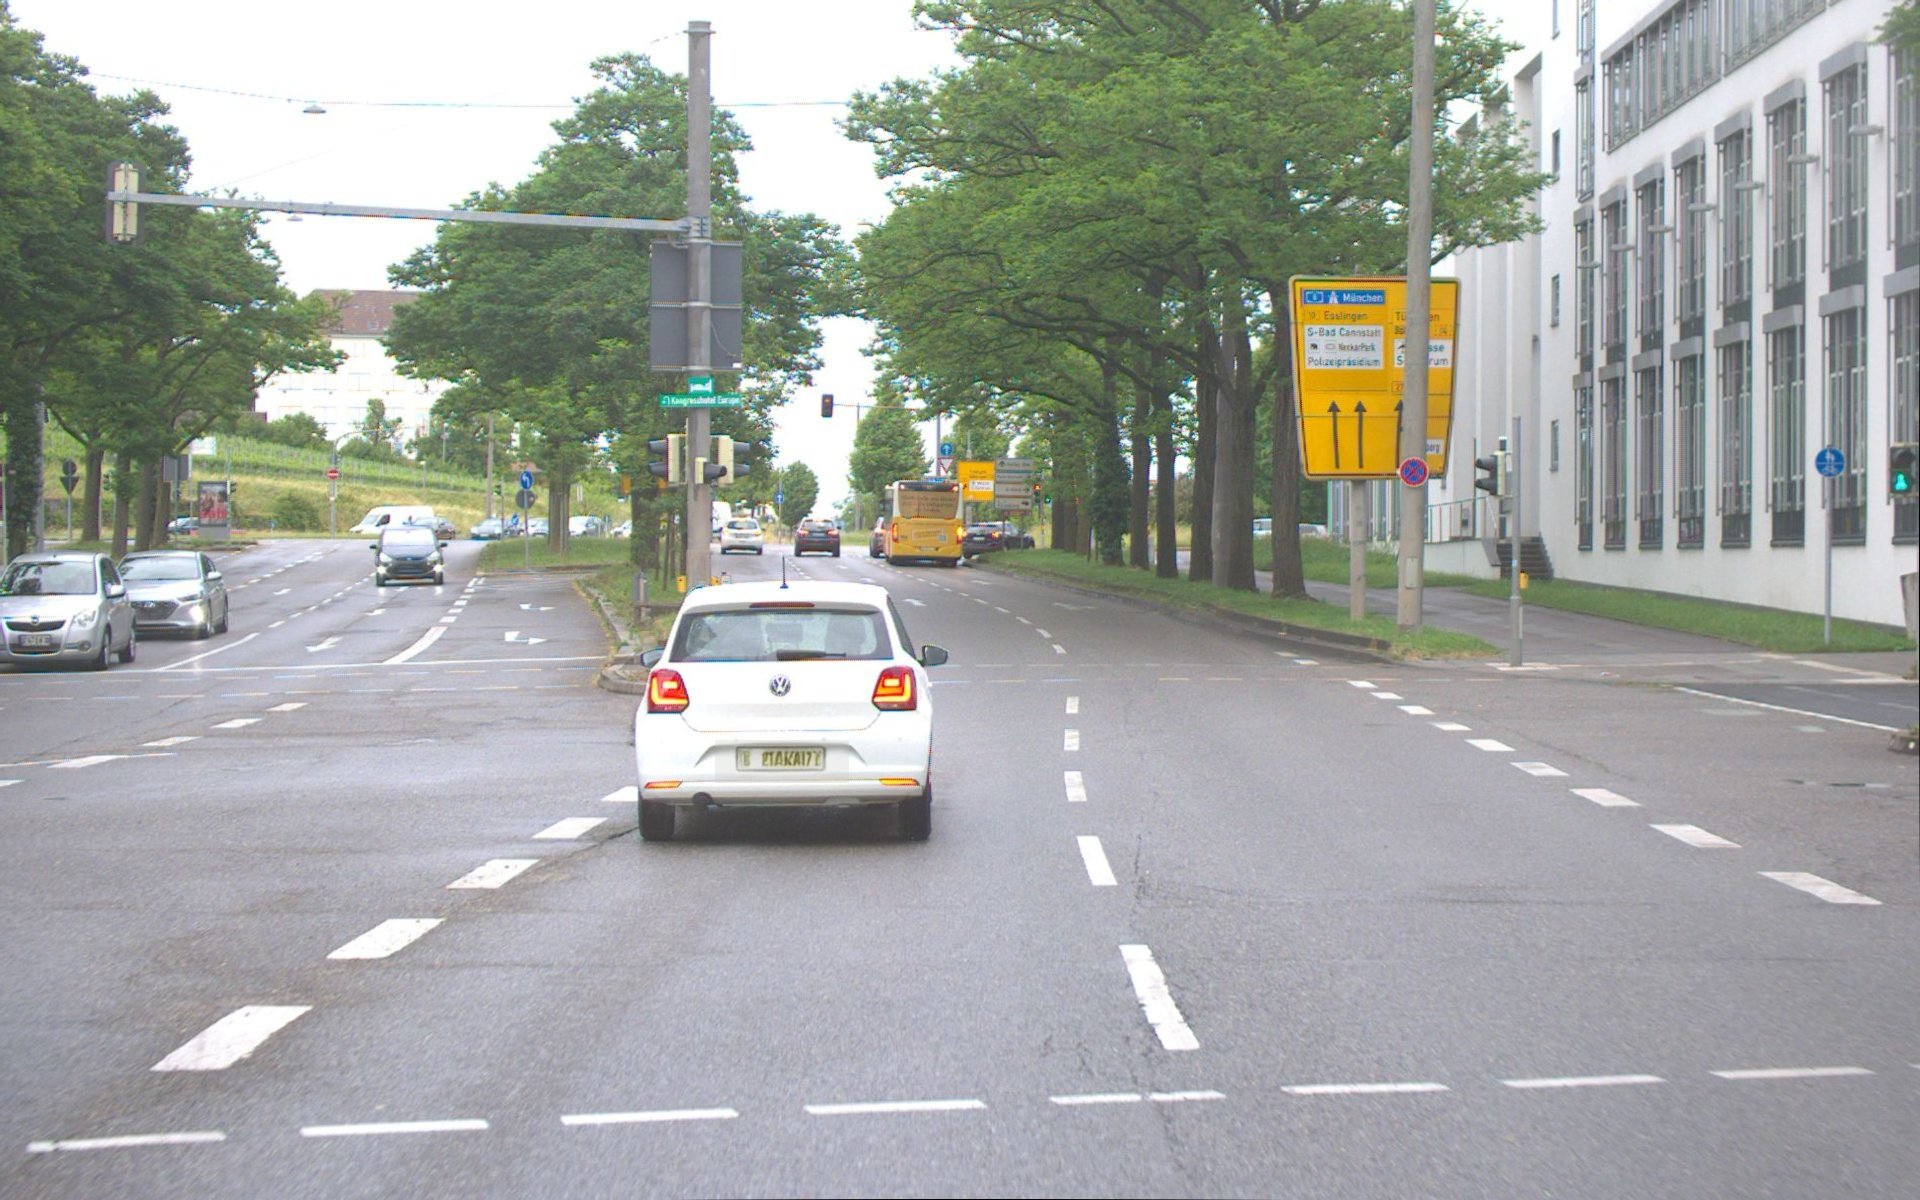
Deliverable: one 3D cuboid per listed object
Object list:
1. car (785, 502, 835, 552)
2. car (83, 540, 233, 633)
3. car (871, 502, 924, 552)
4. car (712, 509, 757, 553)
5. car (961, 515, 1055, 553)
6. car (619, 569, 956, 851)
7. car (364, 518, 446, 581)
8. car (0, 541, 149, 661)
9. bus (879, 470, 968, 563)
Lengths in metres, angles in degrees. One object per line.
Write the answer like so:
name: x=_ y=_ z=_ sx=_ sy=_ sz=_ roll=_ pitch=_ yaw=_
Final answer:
car: x=-6.079 y=-2.944 z=139.220 sx=1.993 sy=2.007 sz=4.000 roll=0 pitch=1 yaw=-3
car: x=-13.341 y=-0.259 z=57.435 sx=1.814 sy=1.406 sz=4.657 roll=-1 pitch=2 yaw=-6
car: x=-2.566 y=-2.952 z=140.204 sx=1.993 sy=2.007 sz=4.000 roll=0 pitch=1 yaw=-3
car: x=-9.243 y=-2.825 z=140.723 sx=1.794 sy=1.735 sz=4.001 roll=-1 pitch=1 yaw=-4
car: x=1.944 y=-2.654 z=139.100 sx=1.699 sy=1.510 sz=3.818 roll=1 pitch=1 yaw=42
car: x=-0.991 y=0.578 z=20.563 sx=1.794 sy=1.497 sz=4.000 roll=1 pitch=1 yaw=-2
car: x=-15.448 y=-1.434 z=95.963 sx=1.993 sy=1.610 sz=5.122 roll=-1 pitch=2 yaw=-7
car: x=-12.185 y=-0.020 z=46.760 sx=1.750 sy=1.515 sz=3.818 roll=-1 pitch=1 yaw=-6
bus: x=-1.415 y=-3.117 z=127.031 sx=2.828 sy=3.255 sz=10.002 roll=1 pitch=2 yaw=-3
